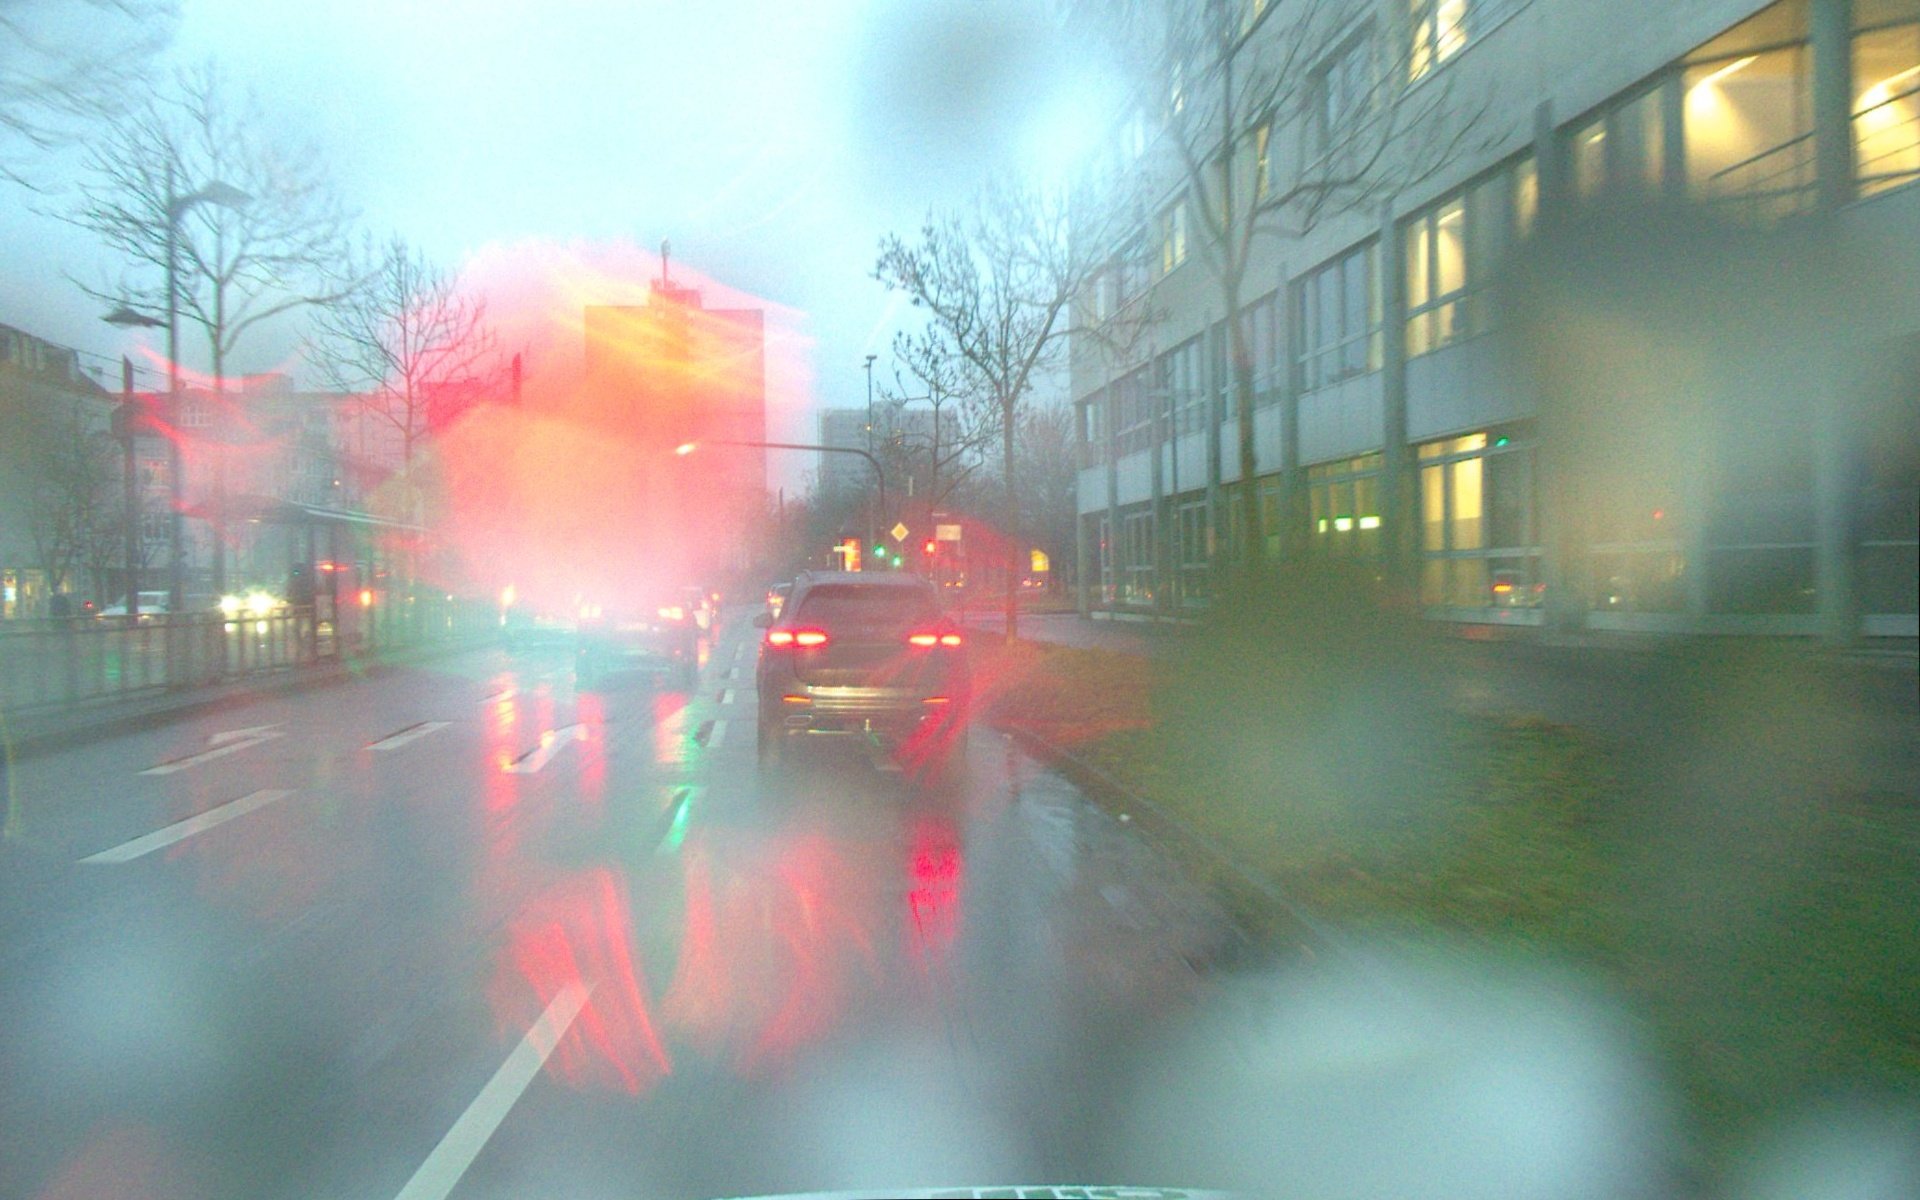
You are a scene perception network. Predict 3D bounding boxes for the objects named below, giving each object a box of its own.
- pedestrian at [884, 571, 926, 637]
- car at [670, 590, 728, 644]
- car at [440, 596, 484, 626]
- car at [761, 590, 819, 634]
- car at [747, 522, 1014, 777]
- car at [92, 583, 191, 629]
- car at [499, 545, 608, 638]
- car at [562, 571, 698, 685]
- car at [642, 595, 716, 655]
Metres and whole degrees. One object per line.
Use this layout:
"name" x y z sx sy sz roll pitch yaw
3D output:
"pedestrian" -1.566 0.110 47.053 0.779 1.780 0.862 -4 1 20
"car" -10.261 0.689 65.284 1.954 2.049 3.996 1 -1 -5
"car" -27.917 0.606 92.781 1.771 1.635 3.992 1 -1 -9
"car" -5.760 0.371 55.842 1.851 1.377 4.095 1 1 -7
"car" -0.877 0.416 15.215 1.957 2.010 4.058 1 -1 -10
"car" -28.161 0.223 57.011 1.724 1.523 3.755 1 -1 -4
"car" -9.580 -0.207 39.348 1.915 2.069 4.876 0 0 -7
"car" -5.429 0.455 27.691 1.956 1.742 4.316 1 -1 -8
"car" -8.262 0.728 48.910 1.956 1.671 4.016 1 -1 -7
